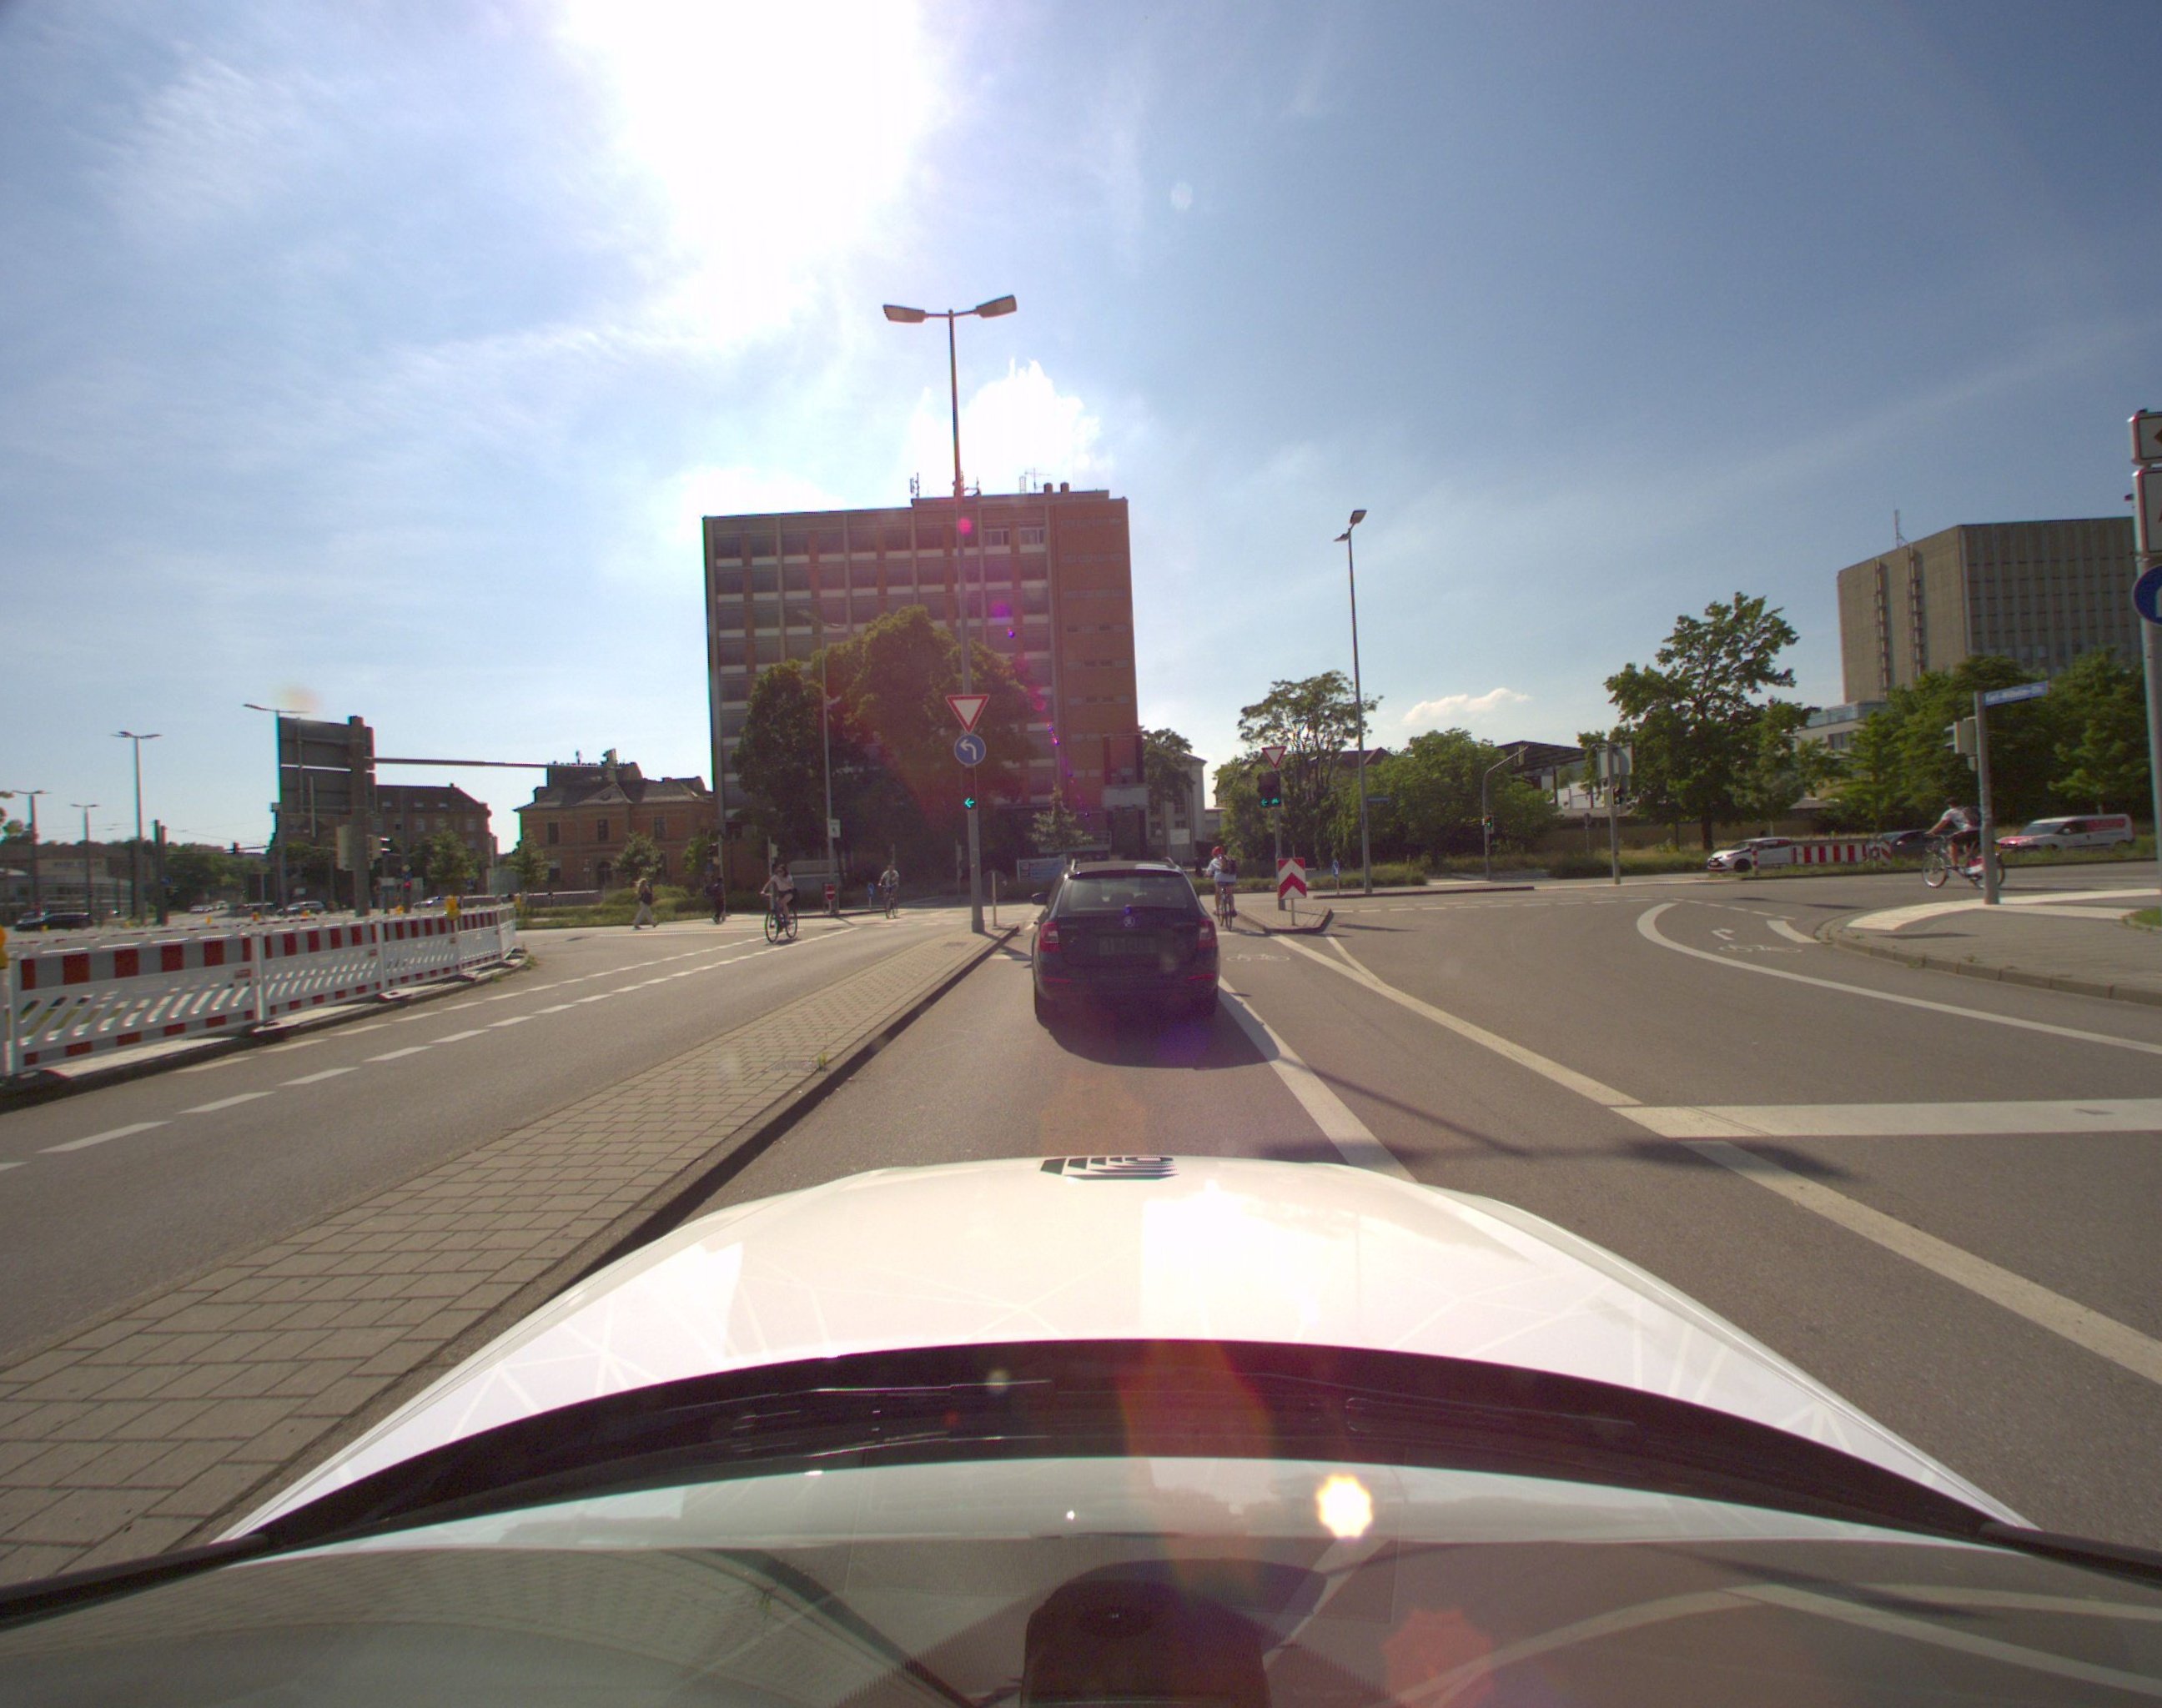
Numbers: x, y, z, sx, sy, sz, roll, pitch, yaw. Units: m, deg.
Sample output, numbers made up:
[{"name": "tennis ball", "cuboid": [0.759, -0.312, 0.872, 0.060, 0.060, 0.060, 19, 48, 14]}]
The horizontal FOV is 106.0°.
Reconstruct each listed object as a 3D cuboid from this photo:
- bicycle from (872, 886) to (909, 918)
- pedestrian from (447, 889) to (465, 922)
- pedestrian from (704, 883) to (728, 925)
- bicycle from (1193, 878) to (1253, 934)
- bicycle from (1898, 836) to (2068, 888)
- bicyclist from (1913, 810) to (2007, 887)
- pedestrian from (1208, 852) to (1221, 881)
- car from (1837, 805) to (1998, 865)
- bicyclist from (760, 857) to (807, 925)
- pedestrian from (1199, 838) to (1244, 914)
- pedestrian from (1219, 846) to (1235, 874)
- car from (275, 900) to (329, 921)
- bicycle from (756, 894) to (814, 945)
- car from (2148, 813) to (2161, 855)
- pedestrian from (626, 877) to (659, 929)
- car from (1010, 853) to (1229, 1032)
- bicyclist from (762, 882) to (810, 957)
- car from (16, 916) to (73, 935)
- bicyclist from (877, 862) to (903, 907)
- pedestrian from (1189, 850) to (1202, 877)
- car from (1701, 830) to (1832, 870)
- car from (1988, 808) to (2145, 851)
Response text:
[{"name": "bicycle", "cuboid": [-6.348, 1.591, 27.253, 0.702, 0.977, 2.030, -3, -2, 0]}, {"name": "pedestrian", "cuboid": [-38.479, 3.170, 50.133, 0.624, 2.013, 0.522, -3, -1, -3]}, {"name": "pedestrian", "cuboid": [-13.426, 1.824, 29.953, 0.632, 1.491, 0.614, -3, -1, -15]}, {"name": "bicycle", "cuboid": [2.800, 1.009, 16.280, 0.596, 0.931, 2.023, -1, 1, -8]}, {"name": "bicycle", "cuboid": [17.515, 0.161, 15.909, 0.673, 0.916, 2.160, -3, 0, -11]}, {"name": "bicyclist", "cuboid": [17.409, -0.089, 16.154, 0.495, 1.470, 1.138, 0, -2, -12]}, {"name": "pedestrian", "cuboid": [8.970, 0.851, 54.915, 0.634, 1.874, 0.797, -4, 0, 1]}, {"name": "car", "cuboid": [32.789, -0.698, 32.039, 3.966, 2.014, 2.004, -3, -2, 7]}, {"name": "bicyclist", "cuboid": [-6.704, 0.812, 18.390, 0.617, 1.443, 0.919, -5, -1, -3]}, {"name": "pedestrian", "cuboid": [2.786, 0.432, 16.261, 0.582, 1.466, 1.011, -1, -1, -8]}, {"name": "pedestrian", "cuboid": [10.453, 0.424, 58.275, 0.786, 1.874, 0.643, -4, 0, 27]}, {"name": "car", "cuboid": [-86.947, 6.260, 90.948, 1.986, 2.013, 4.002, -3, -1, 2]}, {"name": "bicycle", "cuboid": [-6.646, 1.456, 18.383, 0.617, 0.961, 1.966, -5, 0, -3]}, {"name": "car", "cuboid": [38.460, -0.793, 26.784, 4.074, 1.406, 1.642, -3, -2, 7]}, {"name": "pedestrian", "cuboid": [-15.440, 1.730, 28.698, 0.737, 1.752, 1.105, -3, -3, -14]}, {"name": "car", "cuboid": [0.392, 0.742, 8.624, 1.773, 1.443, 3.820, -1, 0, 2]}, {"name": "bicyclist", "cuboid": [-6.646, 1.456, 18.383, 0.617, 1.581, 1.013, -5, -1, -3]}, {"name": "car", "cuboid": [-115.595, 7.990, 90.882, 1.646, 1.717, 3.984, -3, -1, -11]}, {"name": "bicyclist", "cuboid": [-6.367, 1.007, 27.163, 0.537, 1.417, 1.030, -4, -2, 0]}, {"name": "pedestrian", "cuboid": [7.895, 0.659, 56.190, 0.591, 1.874, 0.642, -3, -1, 25]}, {"name": "car", "cuboid": [29.863, -0.161, 35.576, 3.972, 1.464, 2.000, -3, -2, 1]}, {"name": "car", "cuboid": [41.883, -1.013, 34.700, 4.294, 1.569, 1.911, -3, 0, 1]}]
